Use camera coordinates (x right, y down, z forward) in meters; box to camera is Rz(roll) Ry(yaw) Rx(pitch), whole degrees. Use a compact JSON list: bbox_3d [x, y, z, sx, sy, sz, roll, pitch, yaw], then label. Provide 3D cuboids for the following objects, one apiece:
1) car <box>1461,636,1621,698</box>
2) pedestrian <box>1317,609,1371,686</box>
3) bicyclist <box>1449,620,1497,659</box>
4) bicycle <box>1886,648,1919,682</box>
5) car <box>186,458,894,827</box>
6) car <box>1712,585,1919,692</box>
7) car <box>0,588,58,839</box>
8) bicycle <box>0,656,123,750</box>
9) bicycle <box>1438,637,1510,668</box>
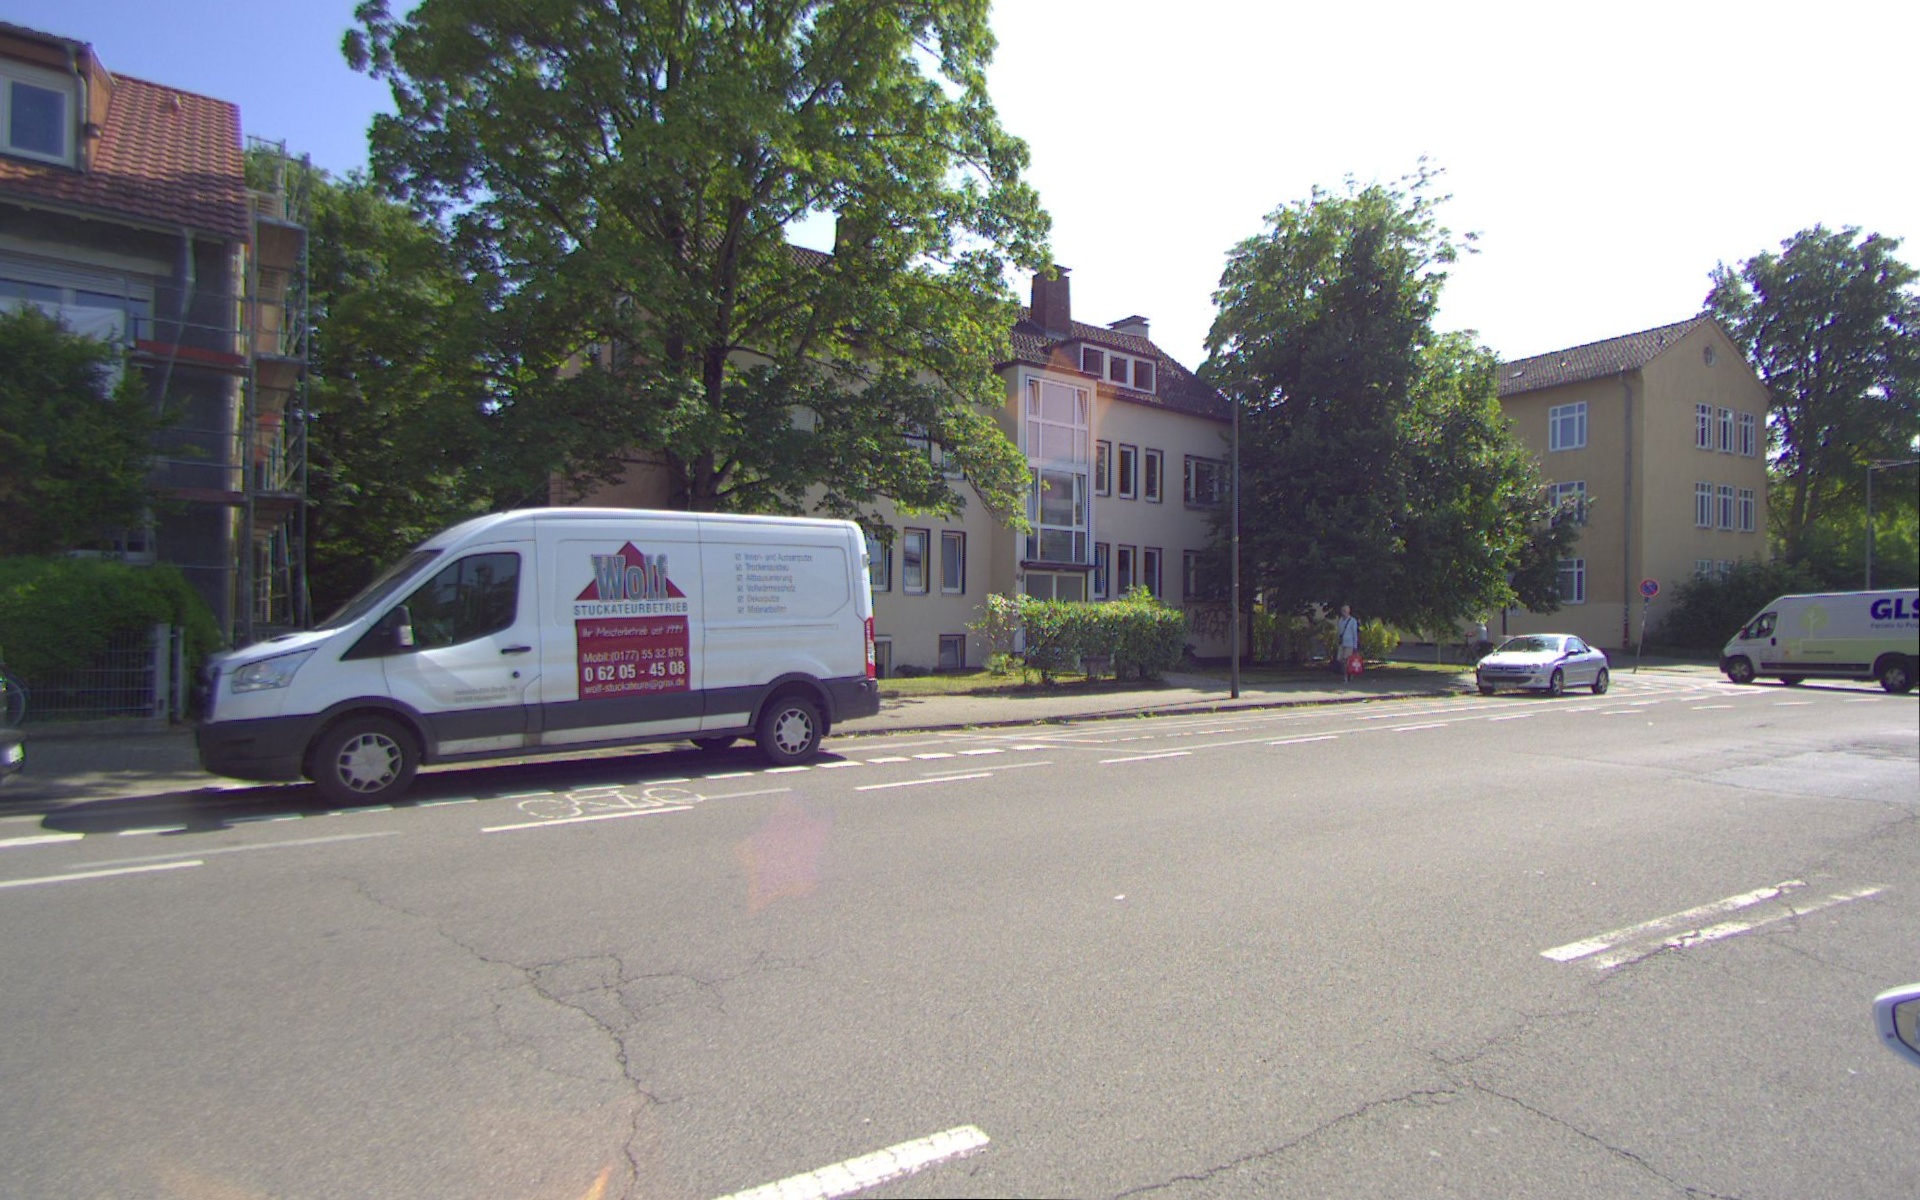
[{"bbox_3d":[13.366,1.481,23.040,3.961,1.283,1.709,1,-2,-36],"label":"car"},{"bbox_3d":[9.178,1.124,24.004,0.717,1.803,0.968,1,-1,-31],"label":"pedestrian"},{"bbox_3d":[19.204,1.464,37.660,0.943,1.422,1.352,0,-2,-13],"label":"bicyclist"},{"bbox_3d":[29.336,1.948,29.889,0.731,1.000,2.533,1,-2,-30],"label":"bicycle"},{"bbox_3d":[-3.624,0.363,9.584,5.902,2.529,2.072,1,-2,-39],"label":"car"},{"bbox_3d":[23.709,1.014,26.611,2.243,2.557,6.124,1,-2,-11],"label":"car"},{"bbox_3d":[-8.074,0.708,5.876,3.961,1.579,1.709,1,-2,-36],"label":"car"},{"bbox_3d":[-9.197,1.004,9.867,1.483,0.875,0.399,2,-1,-42],"label":"bicycle"},{"bbox_3d":[19.192,1.939,37.571,0.944,1.127,2.546,0,-2,-14],"label":"bicycle"}]
